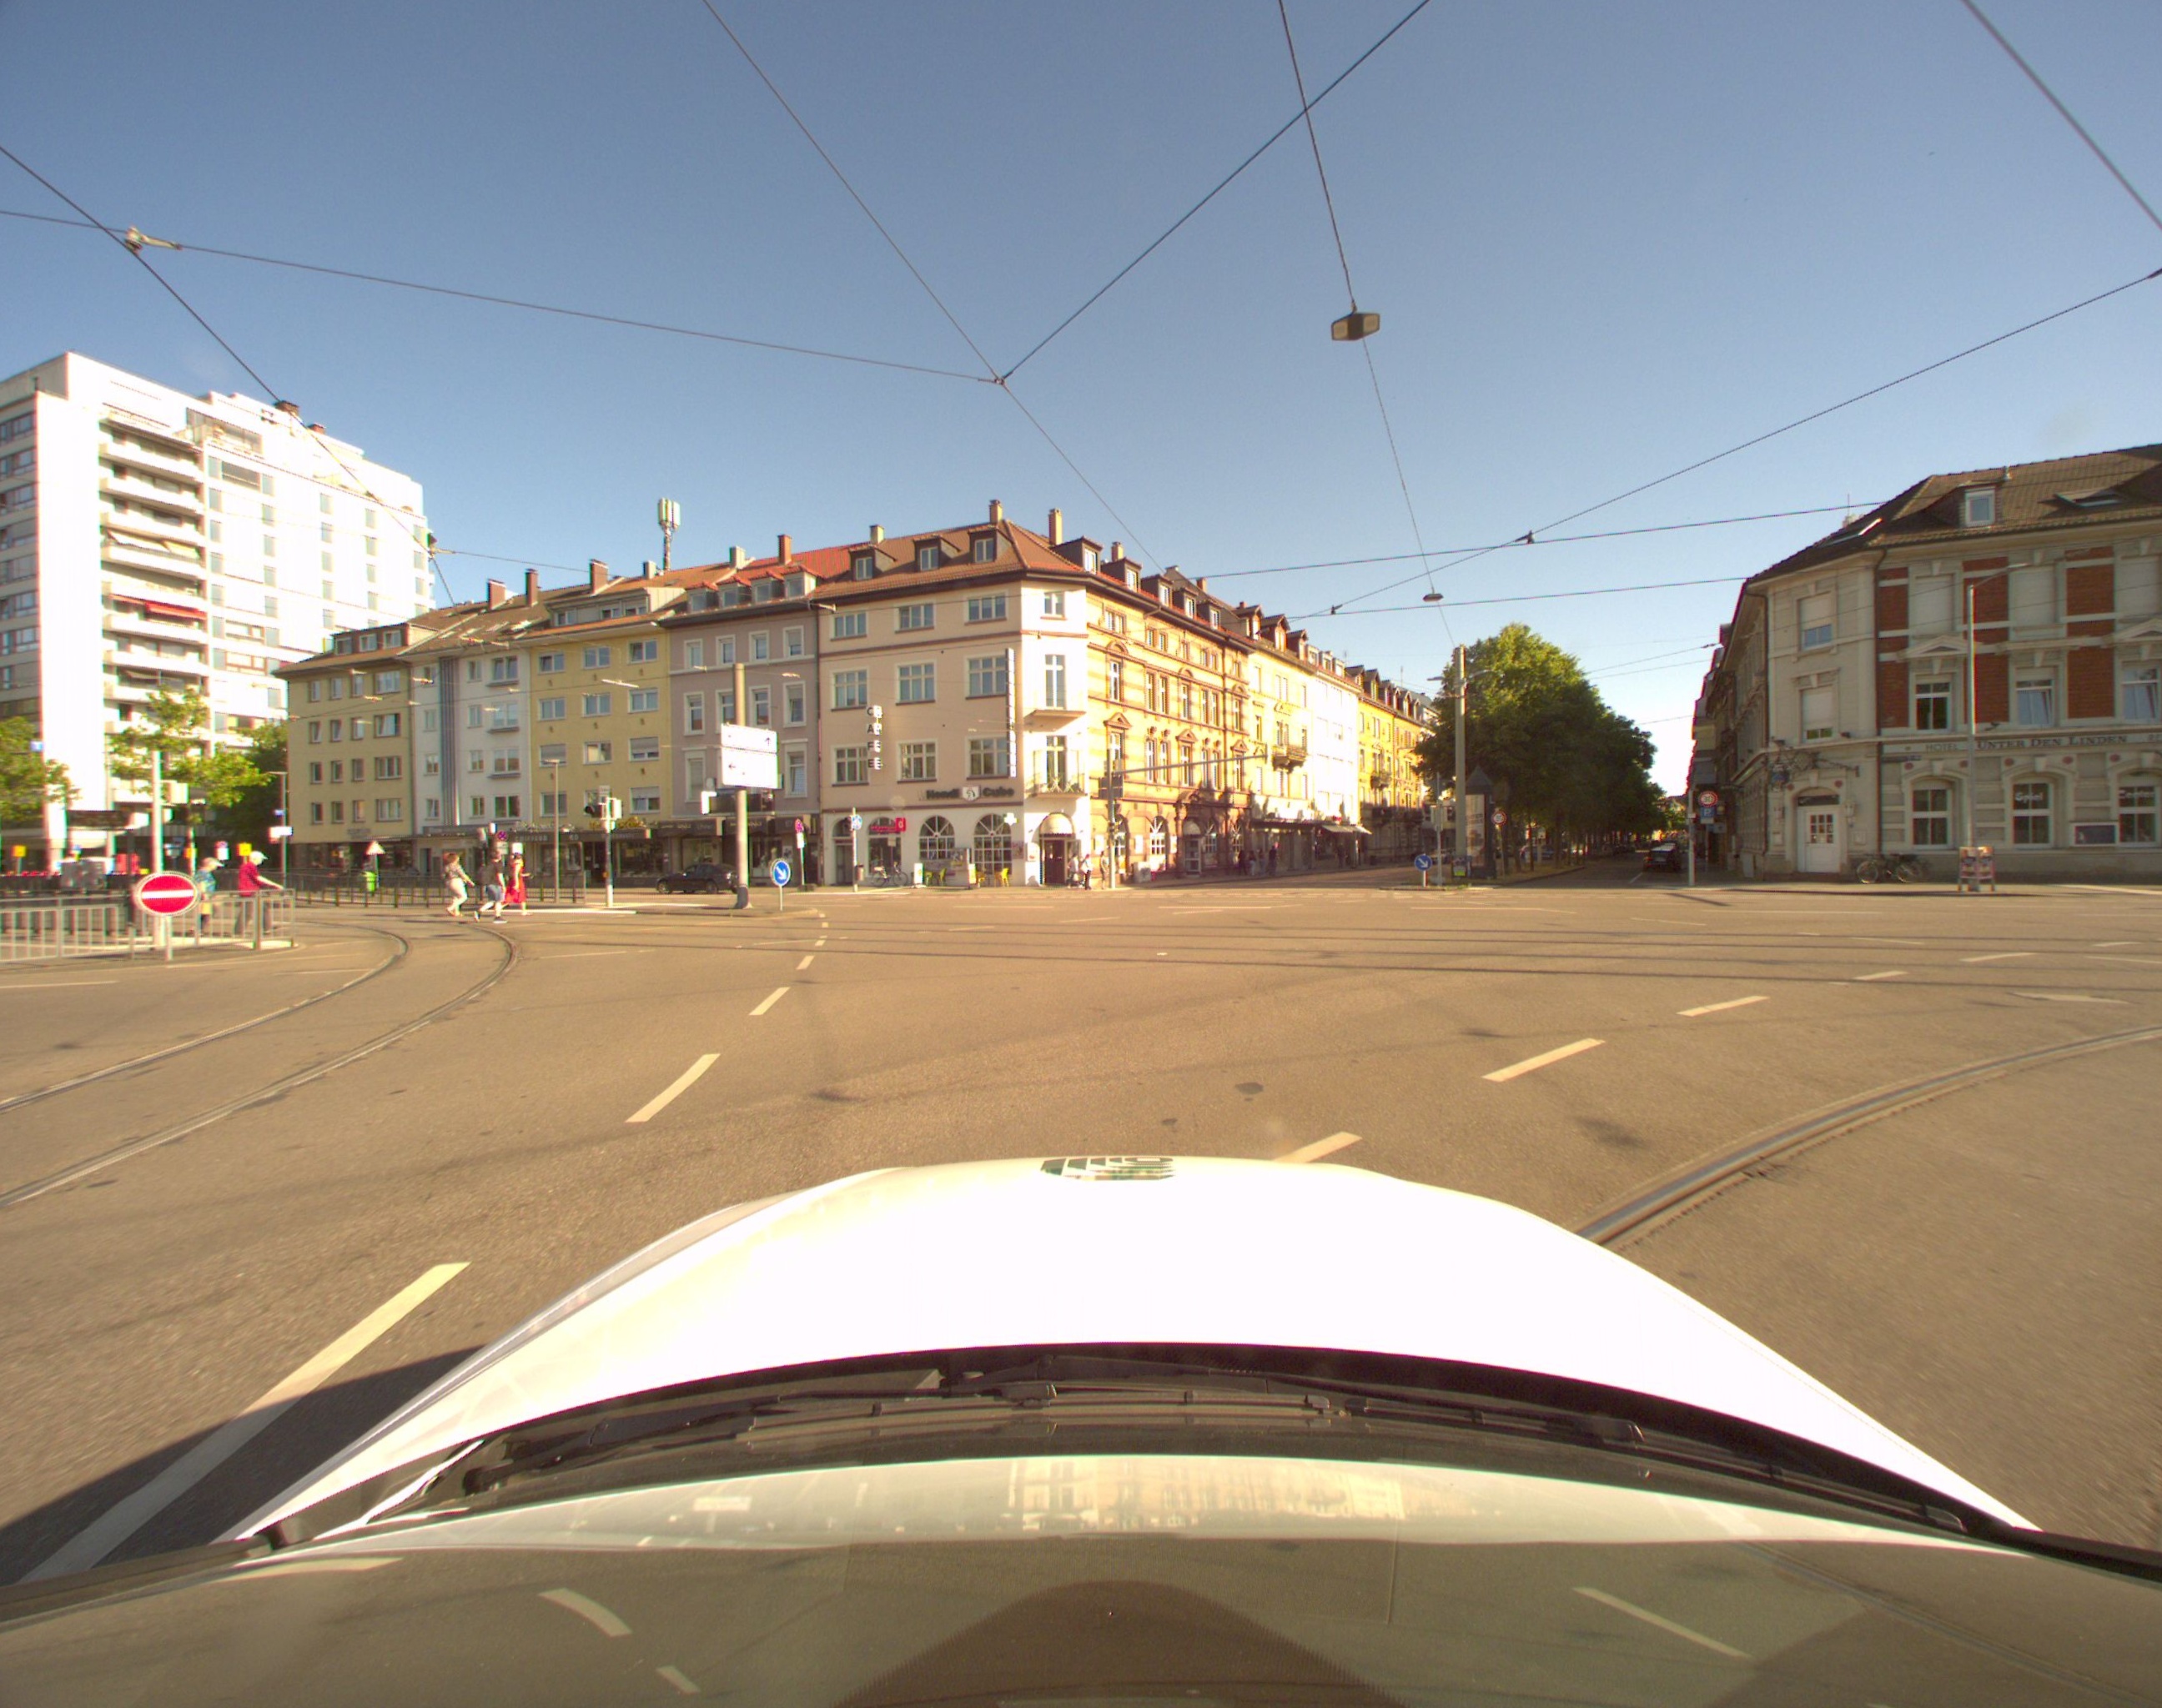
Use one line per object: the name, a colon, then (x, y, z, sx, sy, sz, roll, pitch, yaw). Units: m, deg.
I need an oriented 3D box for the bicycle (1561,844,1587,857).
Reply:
bicycle: (40.463, -0.265, 66.917, 0.583, 1.067, 1.939, -2, 1, -16)

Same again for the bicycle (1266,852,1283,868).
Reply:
bicycle: (13.223, 0.400, 55.630, 0.490, 1.067, 1.781, -1, 1, 36)

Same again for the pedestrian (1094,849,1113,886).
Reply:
pedestrian: (1.006, 0.606, 36.196, 0.625, 1.641, 0.556, -1, 1, 33)

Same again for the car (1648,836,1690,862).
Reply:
car: (36.344, -0.335, 50.418, 1.974, 1.497, 4.060, -1, 1, 34)

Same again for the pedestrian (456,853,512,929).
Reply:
pedestrian: (-13.954, 0.854, 19.050, 0.648, 1.733, 0.803, -1, 0, 8)

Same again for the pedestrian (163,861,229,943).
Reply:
pedestrian: (-18.336, 0.969, 16.872, 0.854, 1.630, 0.813, -1, 0, 37)

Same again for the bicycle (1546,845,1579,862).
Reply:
bicycle: (31.126, -0.047, 52.651, 0.583, 1.067, 1.939, -2, 1, -16)

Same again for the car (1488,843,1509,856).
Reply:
car: (55.290, -0.603, 107.702, 1.974, 1.497, 4.060, -1, 1, 34)

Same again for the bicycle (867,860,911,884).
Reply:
bicycle: (-9.191, 0.860, 39.010, 1.930, 1.067, 0.585, -1, 0, 13)

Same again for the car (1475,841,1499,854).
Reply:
car: (49.498, -0.818, 99.244, 1.974, 1.497, 4.060, -1, 1, 34)

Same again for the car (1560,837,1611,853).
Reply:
car: (50.649, -0.911, 81.773, 2.010, 1.545, 3.953, -2, 1, -39)

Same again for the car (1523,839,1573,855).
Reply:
car: (47.071, -0.676, 82.073, 2.011, 1.545, 3.952, -2, 1, -42)

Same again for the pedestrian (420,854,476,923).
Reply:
pedestrian: (-16.507, 0.885, 21.246, 0.779, 1.733, 0.828, -1, 0, 22)

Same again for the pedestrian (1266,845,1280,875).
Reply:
pedestrian: (11.983, 0.372, 50.812, 0.574, 1.836, 0.637, -1, 1, 36)

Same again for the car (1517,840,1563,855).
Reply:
car: (50.829, -0.710, 90.157, 2.011, 1.545, 3.952, -2, 1, -42)

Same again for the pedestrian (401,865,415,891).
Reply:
pedestrian: (-41.357, 1.486, 50.042, 0.460, 1.562, 0.511, -1, 0, 22)

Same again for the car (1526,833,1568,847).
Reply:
car: (56.621, -1.697, 98.930, 2.011, 1.545, 3.952, -2, 1, -42)

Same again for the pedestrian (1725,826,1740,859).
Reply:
pedestrian: (34.463, -0.594, 43.095, 0.585, 1.643, 0.581, -1, -7, 39)

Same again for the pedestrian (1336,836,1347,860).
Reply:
pedestrian: (20.443, -0.470, 63.931, 0.675, 1.908, 0.637, -1, 1, 36)

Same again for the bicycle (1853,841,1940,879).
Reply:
bicycle: (26.871, 0.204, 26.874, 1.943, 1.190, 0.549, -1, 1, 25)

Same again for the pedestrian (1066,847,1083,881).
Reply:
pedestrian: (-0.304, 0.439, 36.717, 0.657, 1.524, 0.693, -2, 0, -7)

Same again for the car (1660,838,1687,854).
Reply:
car: (57.421, -0.772, 78.902, 1.974, 1.497, 4.060, -1, 1, 37)

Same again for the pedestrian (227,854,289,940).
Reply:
pedestrian: (-17.280, 0.884, 17.107, 0.815, 1.723, 0.853, -1, 0, 42)

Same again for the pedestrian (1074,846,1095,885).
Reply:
pedestrian: (0.162, 0.509, 34.923, 0.668, 1.641, 0.582, -1, 1, 33)

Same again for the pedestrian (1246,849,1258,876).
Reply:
pedestrian: (10.576, 0.551, 50.503, 0.545, 1.641, 0.541, -1, 1, 31)

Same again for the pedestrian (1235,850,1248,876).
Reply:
pedestrian: (10.020, 0.551, 50.729, 0.621, 1.641, 0.541, -1, 1, 32)

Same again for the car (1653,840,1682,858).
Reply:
car: (51.643, -0.481, 71.697, 1.974, 1.497, 4.060, -1, 1, 37)

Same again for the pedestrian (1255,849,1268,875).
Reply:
pedestrian: (11.249, 0.493, 50.694, 0.545, 1.641, 0.637, -1, 1, 31)

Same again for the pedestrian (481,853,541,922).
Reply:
pedestrian: (-14.786, 0.847, 21.161, 0.832, 1.733, 0.909, -1, 0, 15)

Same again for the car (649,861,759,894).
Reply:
car: (-17.471, 1.094, 37.797, 4.603, 1.440, 1.752, -1, 0, 17)
